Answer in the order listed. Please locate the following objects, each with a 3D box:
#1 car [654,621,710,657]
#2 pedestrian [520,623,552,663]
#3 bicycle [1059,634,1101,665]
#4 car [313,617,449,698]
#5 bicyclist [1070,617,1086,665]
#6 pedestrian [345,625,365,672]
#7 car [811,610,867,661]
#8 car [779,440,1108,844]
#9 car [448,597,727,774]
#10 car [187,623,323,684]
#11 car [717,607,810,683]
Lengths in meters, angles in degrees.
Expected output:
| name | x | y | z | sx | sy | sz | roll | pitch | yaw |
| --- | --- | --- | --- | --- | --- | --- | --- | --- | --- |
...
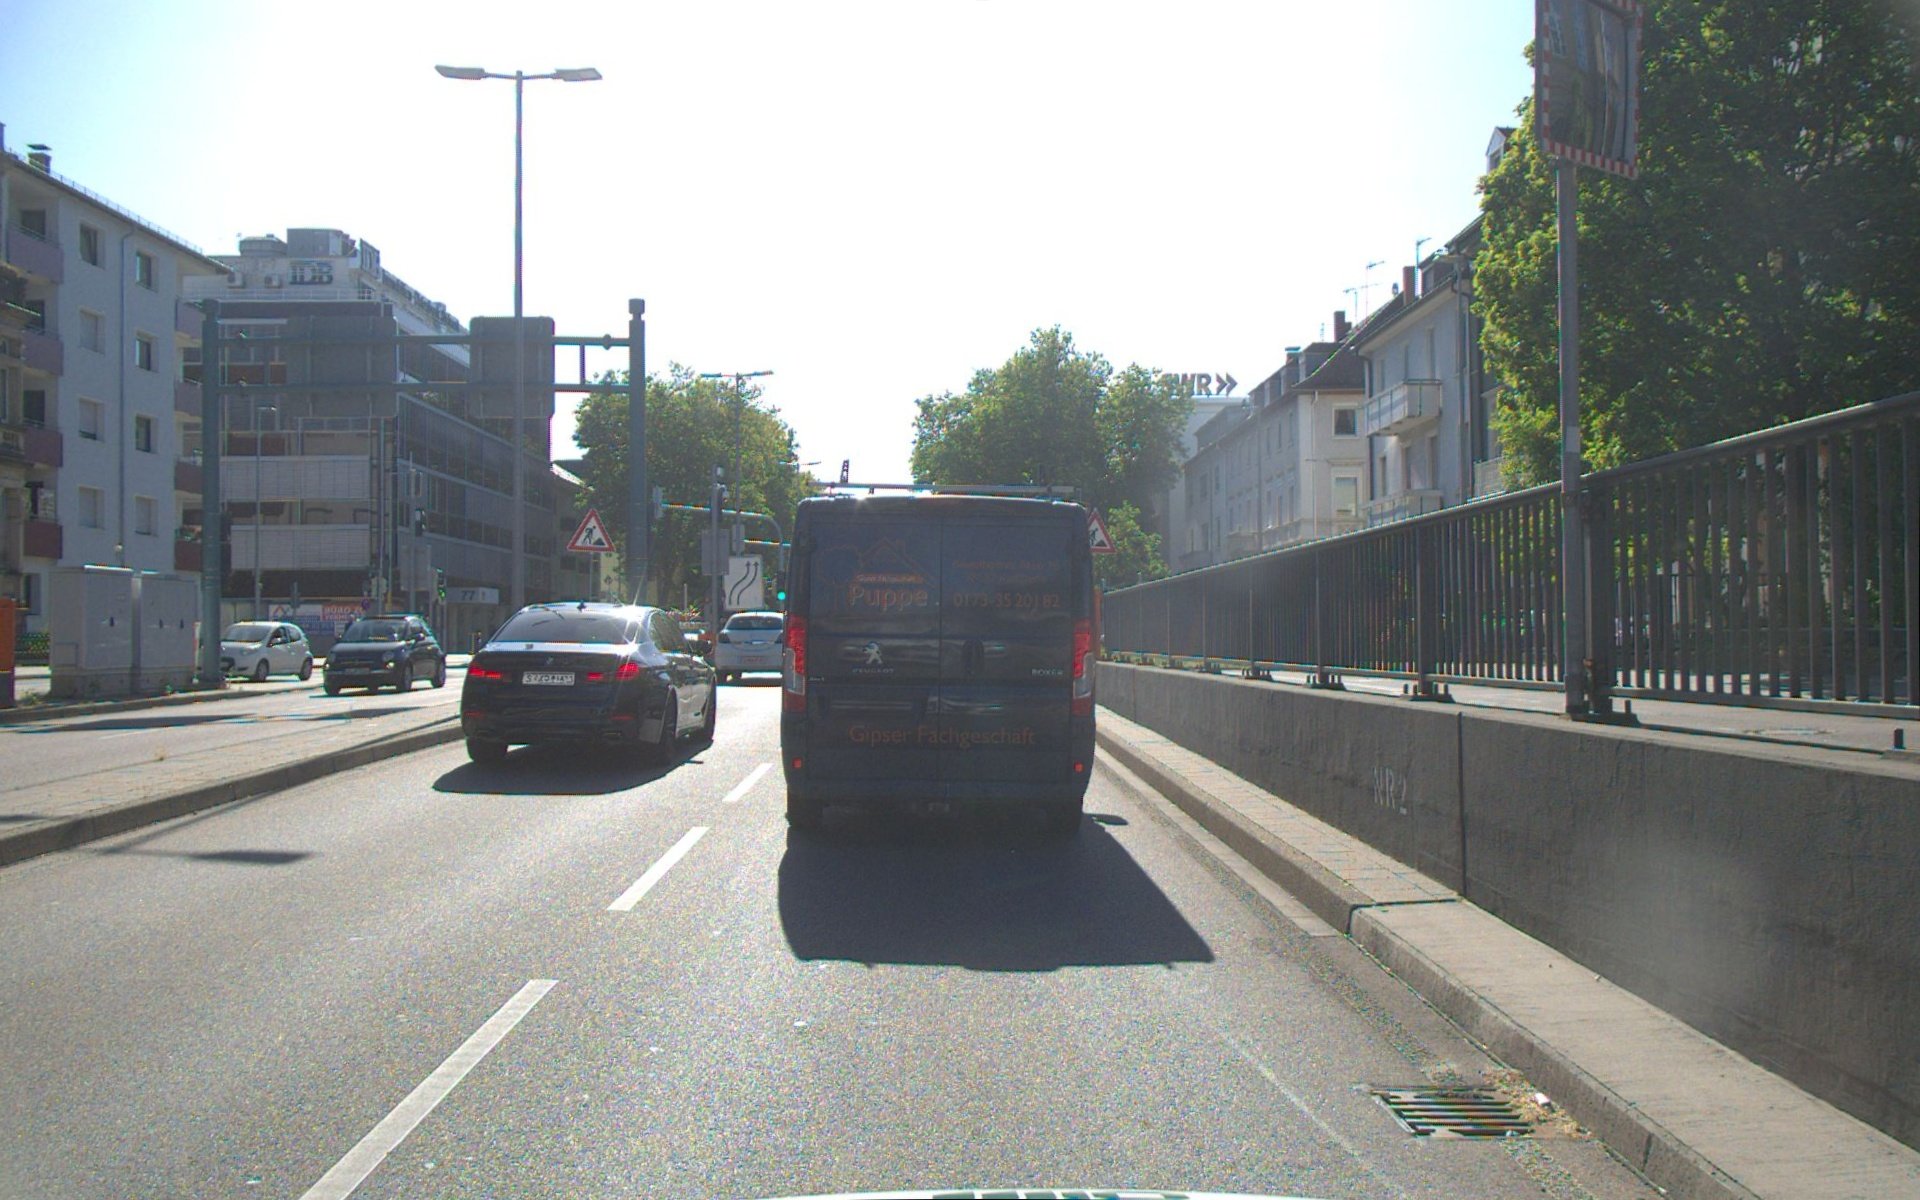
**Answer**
| name | x | y | z | sx | sy | sz | roll | pitch | yaw |
| --- | --- | --- | --- | --- | --- | --- | --- | --- | --- |
| car | -12.766 | 1.783 | 76.151 | 1.897 | 1.582 | 3.922 | 1 | -1 | -1 |
| pedestrian | -21.426 | 2.179 | 83.555 | 1.305 | 1.965 | 1.025 | 1 | -1 | -1 |
| bicycle | 4.508 | 1.857 | 62.206 | 1.534 | 1.138 | 0.570 | 1 | -1 | -2 |
| car | -11.609 | 1.115 | 33.392 | 1.559 | 1.470 | 3.494 | -3 | -1 | -2 |
| bicyclist | 4.439 | 1.536 | 62.209 | 0.499 | 1.766 | 0.597 | 1 | -1 | -2 |
| pedestrian | -25.438 | 2.040 | 69.576 | 0.647 | 1.929 | 0.720 | 1 | -1 | -14 |
| car | -3.915 | 1.130 | 53.762 | 1.655 | 1.509 | 3.317 | 1 | 0 | -2 |
| car | -0.140 | 0.275 | 12.041 | 1.989 | 2.444 | 3.971 | 0 | -1 | -1 |
| car | -3.496 | 0.751 | 16.474 | 1.772 | 1.464 | 5.000 | 1 | -1 | -2 |
| car | -17.439 | 1.299 | 41.089 | 1.641 | 1.434 | 3.617 | 0 | -1 | 3 |
| car | -4.117 | 0.914 | 35.075 | 1.586 | 1.428 | 3.851 | 1 | 0 | -2 |
